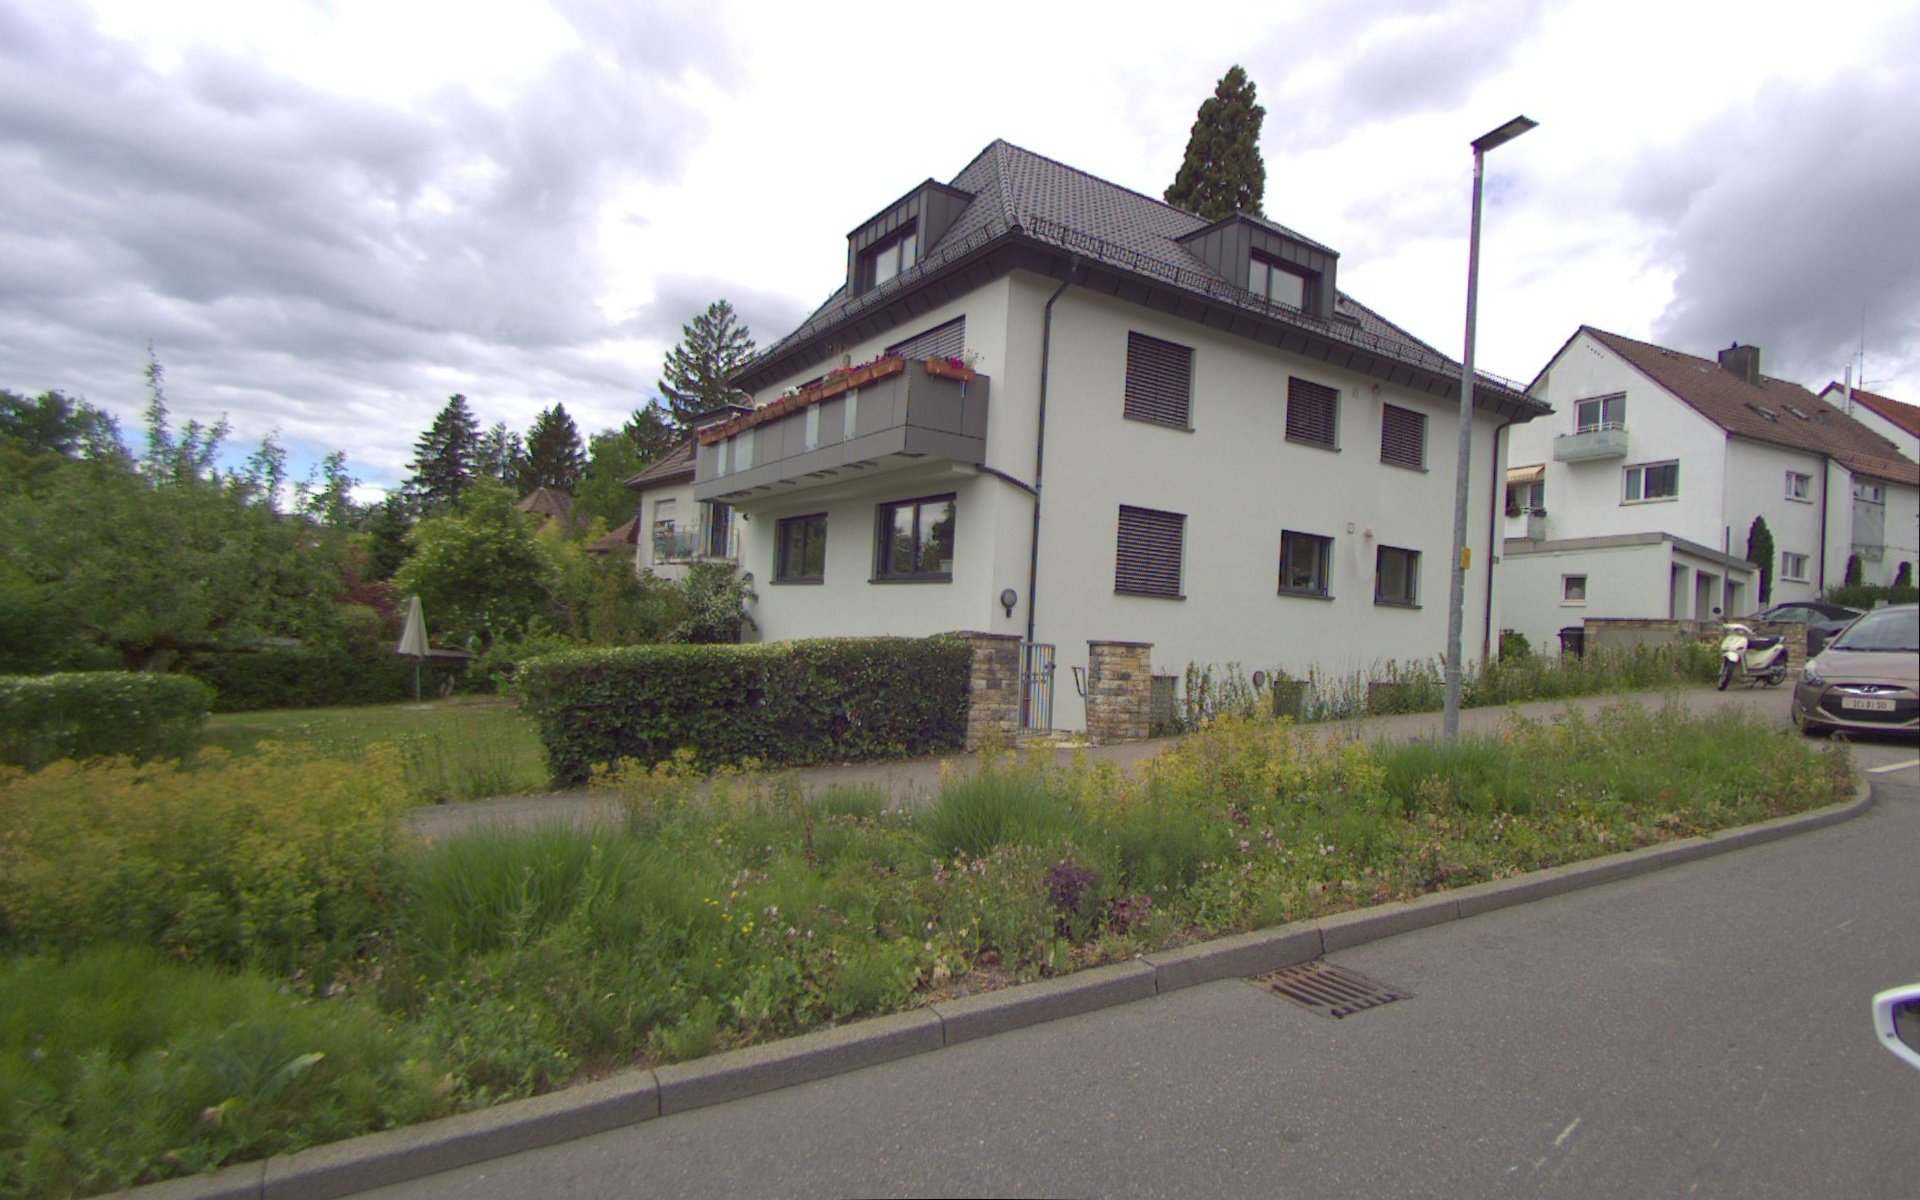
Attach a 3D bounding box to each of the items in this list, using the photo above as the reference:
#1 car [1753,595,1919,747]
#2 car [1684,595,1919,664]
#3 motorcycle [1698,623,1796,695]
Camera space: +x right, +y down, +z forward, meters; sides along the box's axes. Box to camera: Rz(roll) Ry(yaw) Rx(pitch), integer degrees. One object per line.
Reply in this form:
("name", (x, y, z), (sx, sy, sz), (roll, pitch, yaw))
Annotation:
("car", (11.599, 0.747, 12.103), (3.823, 1.606, 1.870), (0, 0, -28))
("car", (19.186, 0.587, 22.655), (1.884, 1.386, 4.261), (-1, 1, -33))
("motorcycle", (13.389, 0.990, 17.089), (1.834, 1.176, 0.428), (1, -1, -21))
